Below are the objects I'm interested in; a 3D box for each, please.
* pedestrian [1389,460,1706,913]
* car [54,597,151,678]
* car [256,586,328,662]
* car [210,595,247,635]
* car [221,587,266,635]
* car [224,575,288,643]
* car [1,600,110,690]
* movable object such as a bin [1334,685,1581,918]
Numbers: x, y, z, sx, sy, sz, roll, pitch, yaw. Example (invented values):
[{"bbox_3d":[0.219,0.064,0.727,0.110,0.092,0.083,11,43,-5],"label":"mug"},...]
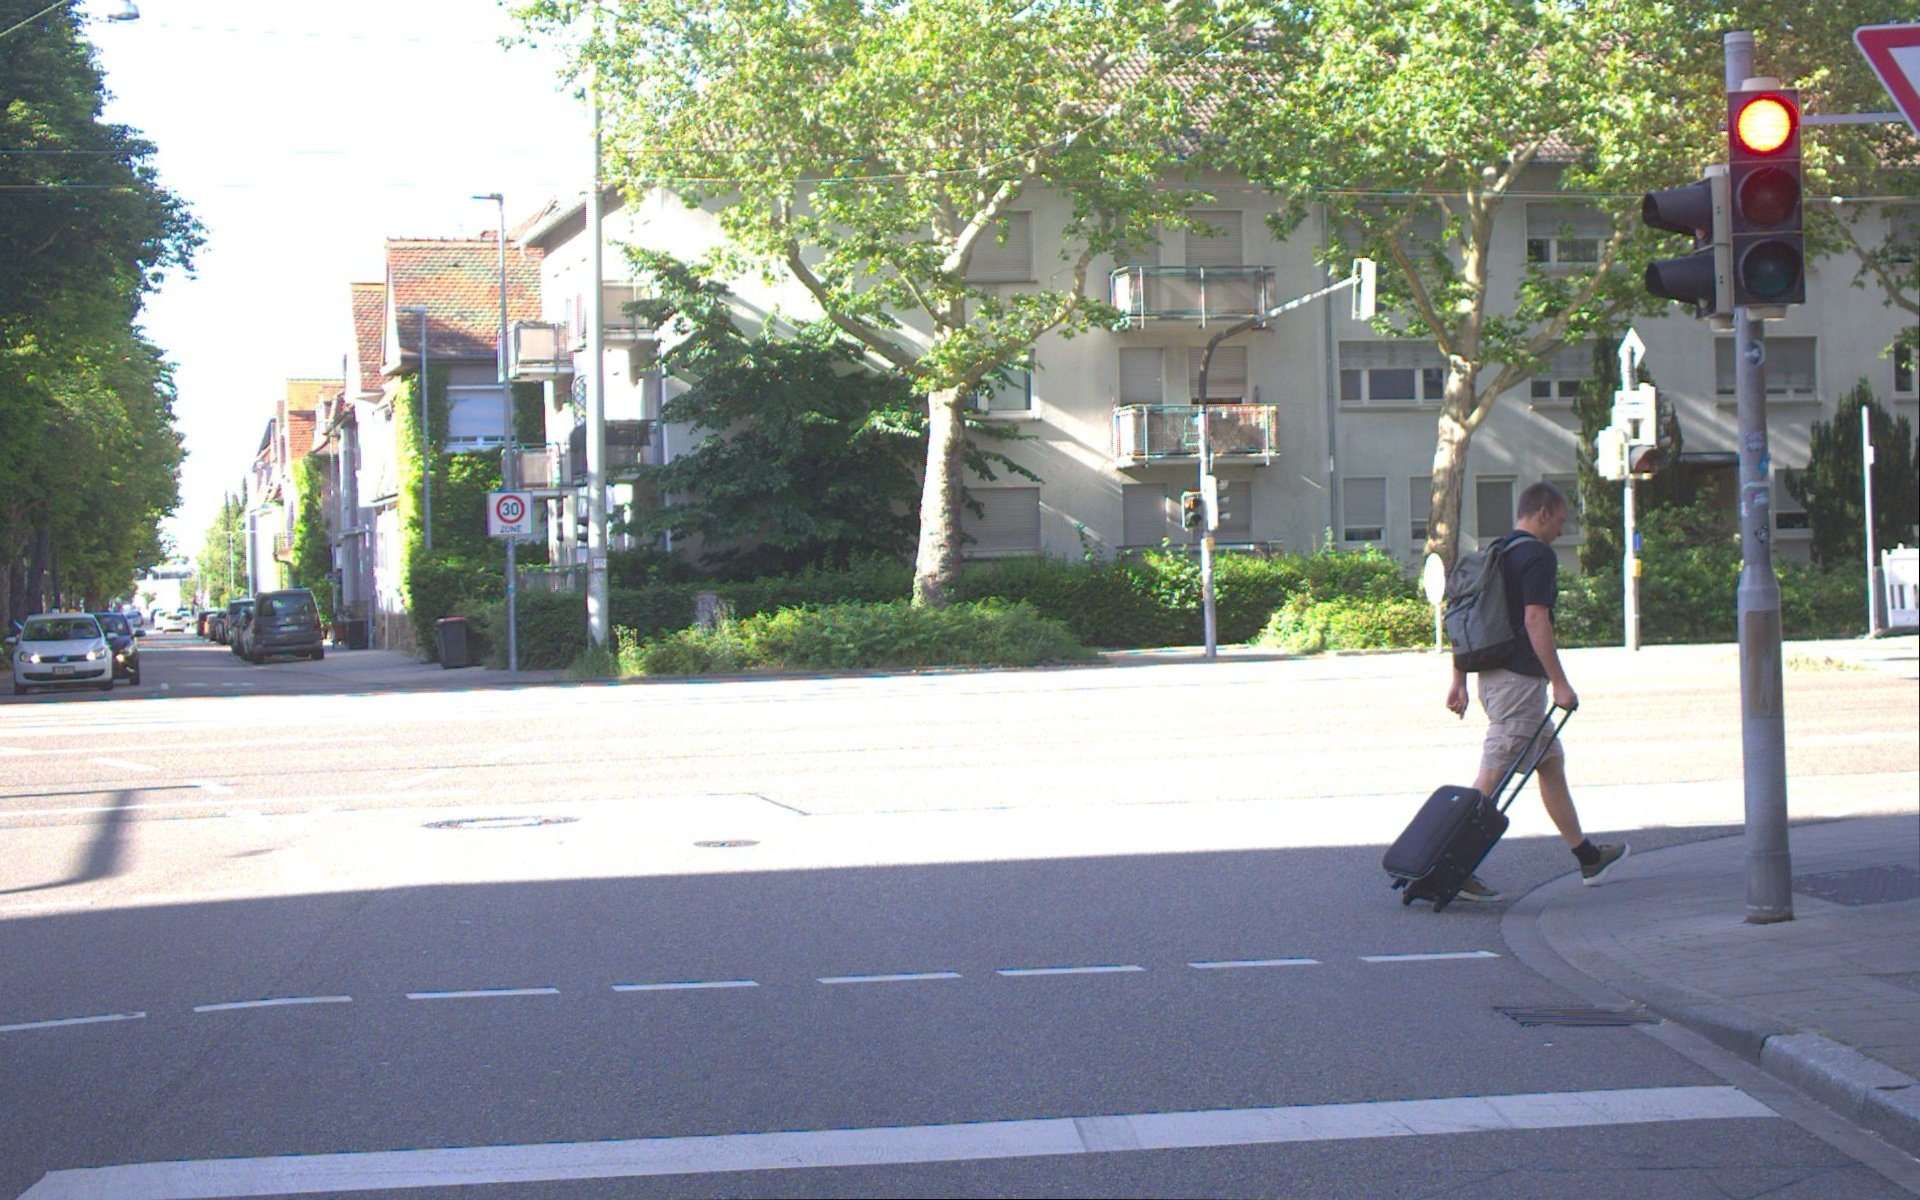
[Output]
[{"bbox_3d":[2.514,0.352,14.775,1.065,1.842,0.749,-3,1,-13],"label":"pedestrian"},{"bbox_3d":[-17.312,0.737,69.518,1.698,1.478,3.535,-3,1,-12],"label":"car"},{"bbox_3d":[-18.386,0.643,94.541,1.772,1.912,3.535,-3,1,-12],"label":"car"},{"bbox_3d":[-38.464,0.781,180.833,1.772,1.912,3.535,-3,1,-12],"label":"car"},{"bbox_3d":[-30.528,0.460,146.451,1.772,1.912,3.535,-3,1,-12],"label":"car"},{"bbox_3d":[-21.450,0.249,104.656,1.772,1.912,3.535,-3,1,-12],"label":"car"},{"bbox_3d":[-16.643,0.805,63.370,1.698,1.478,3.535,-3,1,-12],"label":"car"},{"bbox_3d":[2.054,0.823,14.220,0.861,0.889,0.509,-2,1,-13],"label":"movable object such as a bin"}]
